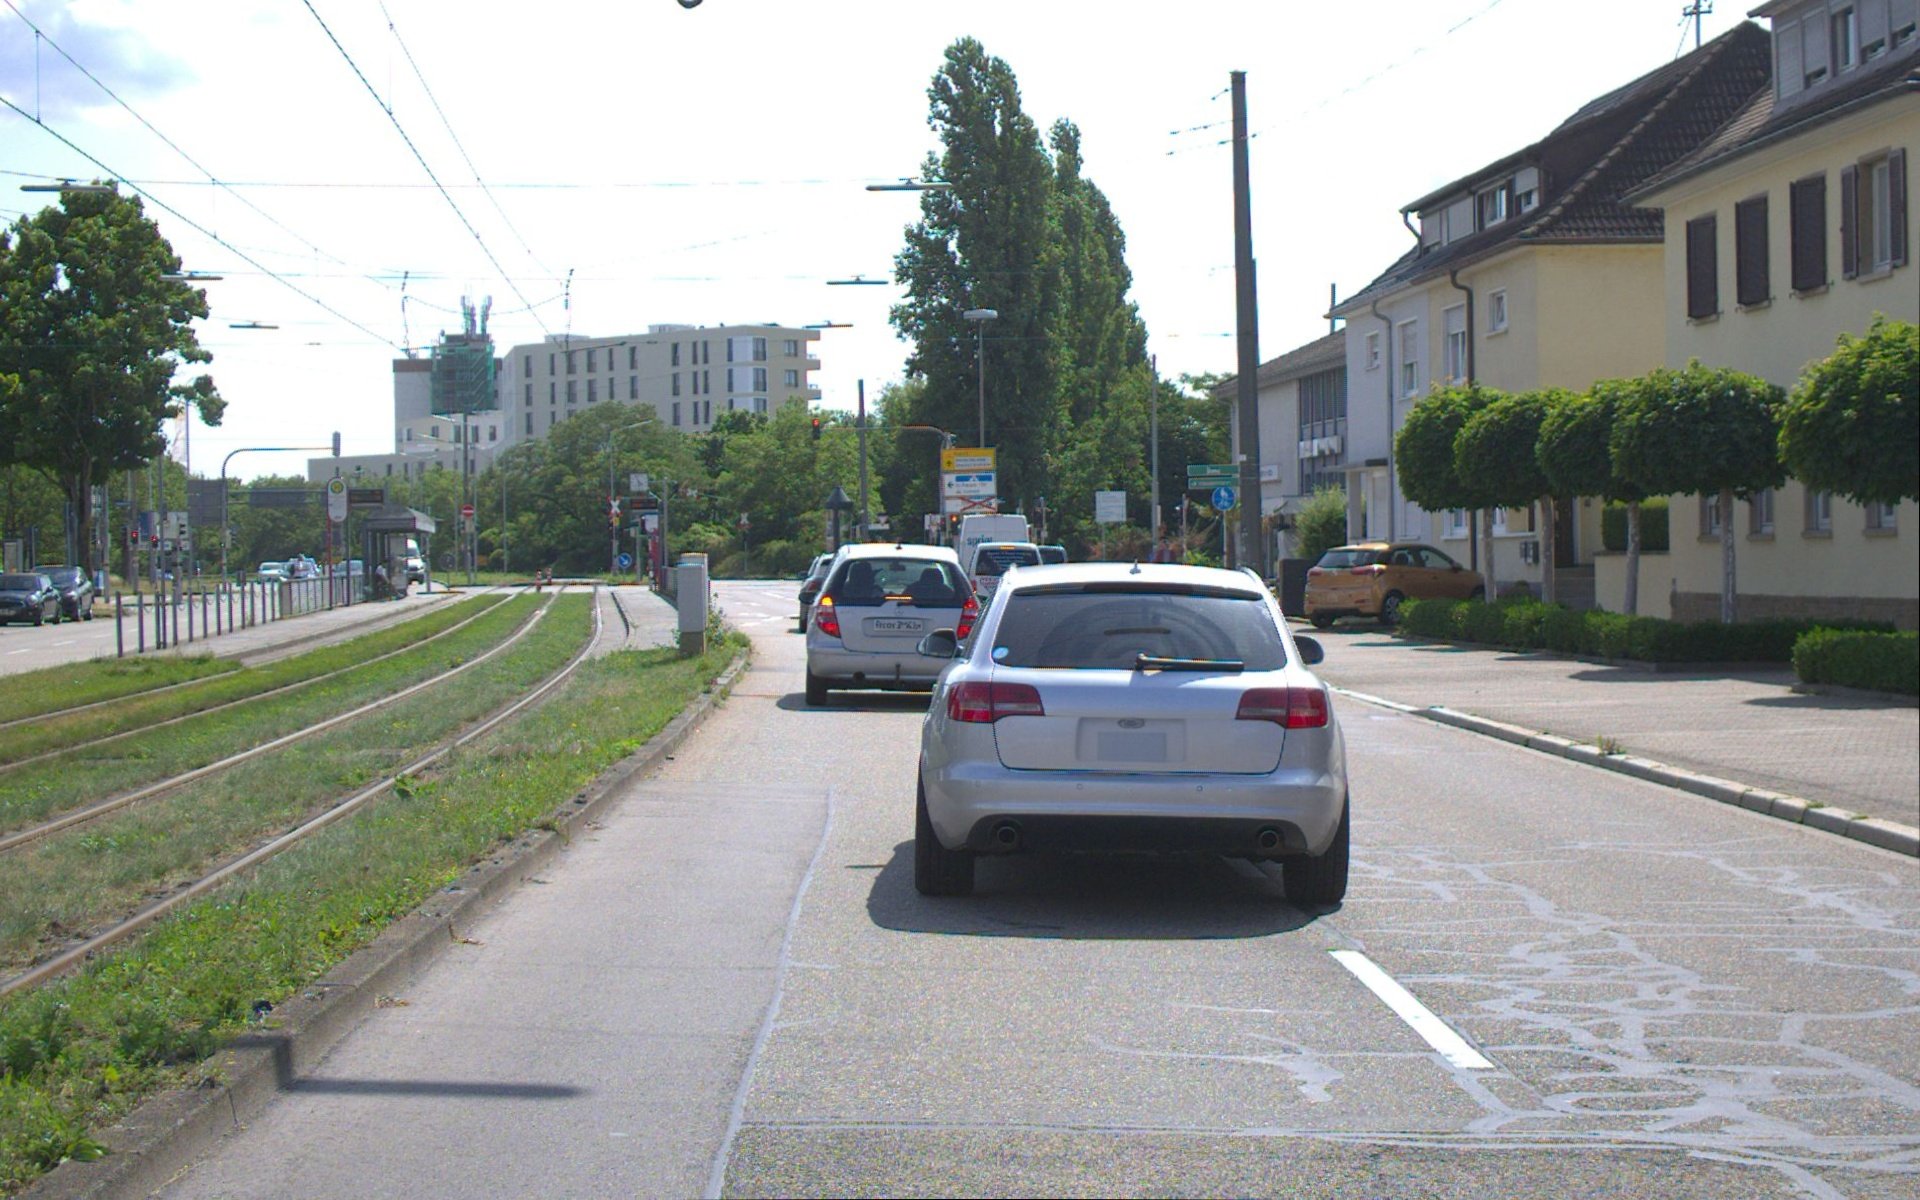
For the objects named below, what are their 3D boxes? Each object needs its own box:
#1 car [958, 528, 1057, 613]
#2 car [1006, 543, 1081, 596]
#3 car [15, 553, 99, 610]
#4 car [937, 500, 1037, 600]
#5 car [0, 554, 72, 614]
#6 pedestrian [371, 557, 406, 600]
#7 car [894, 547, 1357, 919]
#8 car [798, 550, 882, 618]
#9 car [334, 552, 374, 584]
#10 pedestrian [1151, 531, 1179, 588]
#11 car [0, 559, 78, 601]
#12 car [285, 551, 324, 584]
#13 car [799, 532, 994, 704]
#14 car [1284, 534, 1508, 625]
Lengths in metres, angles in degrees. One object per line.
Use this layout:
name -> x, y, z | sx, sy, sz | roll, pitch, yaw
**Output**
car -> 1.038, -0.639, 73.131 | 1.885, 1.725, 4.094 | -1, 1, 4
car -> 2.686, -0.985, 111.181 | 1.884, 1.631, 4.095 | 1, 0, -6
car -> -26.307, -0.559, 100.285 | 2.059, 1.608, 4.755 | -1, 1, -11
car -> 0.667, -1.320, 90.699 | 2.040, 2.549, 5.232 | 0, 1, -6
car -> -25.582, -0.457, 94.090 | 1.786, 1.578, 3.931 | 0, 1, -4
pedestrian -> -18.392, -0.699, 110.673 | 1.058, 1.371, 0.860 | 1, 0, -6
car -> 0.717, 0.506, 16.156 | 1.854, 1.487, 4.536 | 0, 1, 1
car -> -2.810, -0.373, 79.970 | 1.885, 1.525, 4.095 | 1, 0, -2
car -> -30.256, -1.613, 171.801 | 1.896, 1.536, 3.730 | 1, 0, -9
pedestrian -> 6.549, -1.300, 109.758 | 0.721, 1.776, 0.703 | -3, 1, -3
car -> -39.125, -0.841, 142.101 | 4.862, 1.654, 2.000 | 1, 0, -2
car -> -33.396, -1.648, 175.118 | 1.862, 1.645, 4.001 | 1, 0, -10
car -> -0.690, 0.139, 34.445 | 1.787, 1.571, 4.095 | 2, 1, -3
car -> 7.876, -0.394, 61.861 | 1.915, 1.453, 4.083 | 1, 3, 44
